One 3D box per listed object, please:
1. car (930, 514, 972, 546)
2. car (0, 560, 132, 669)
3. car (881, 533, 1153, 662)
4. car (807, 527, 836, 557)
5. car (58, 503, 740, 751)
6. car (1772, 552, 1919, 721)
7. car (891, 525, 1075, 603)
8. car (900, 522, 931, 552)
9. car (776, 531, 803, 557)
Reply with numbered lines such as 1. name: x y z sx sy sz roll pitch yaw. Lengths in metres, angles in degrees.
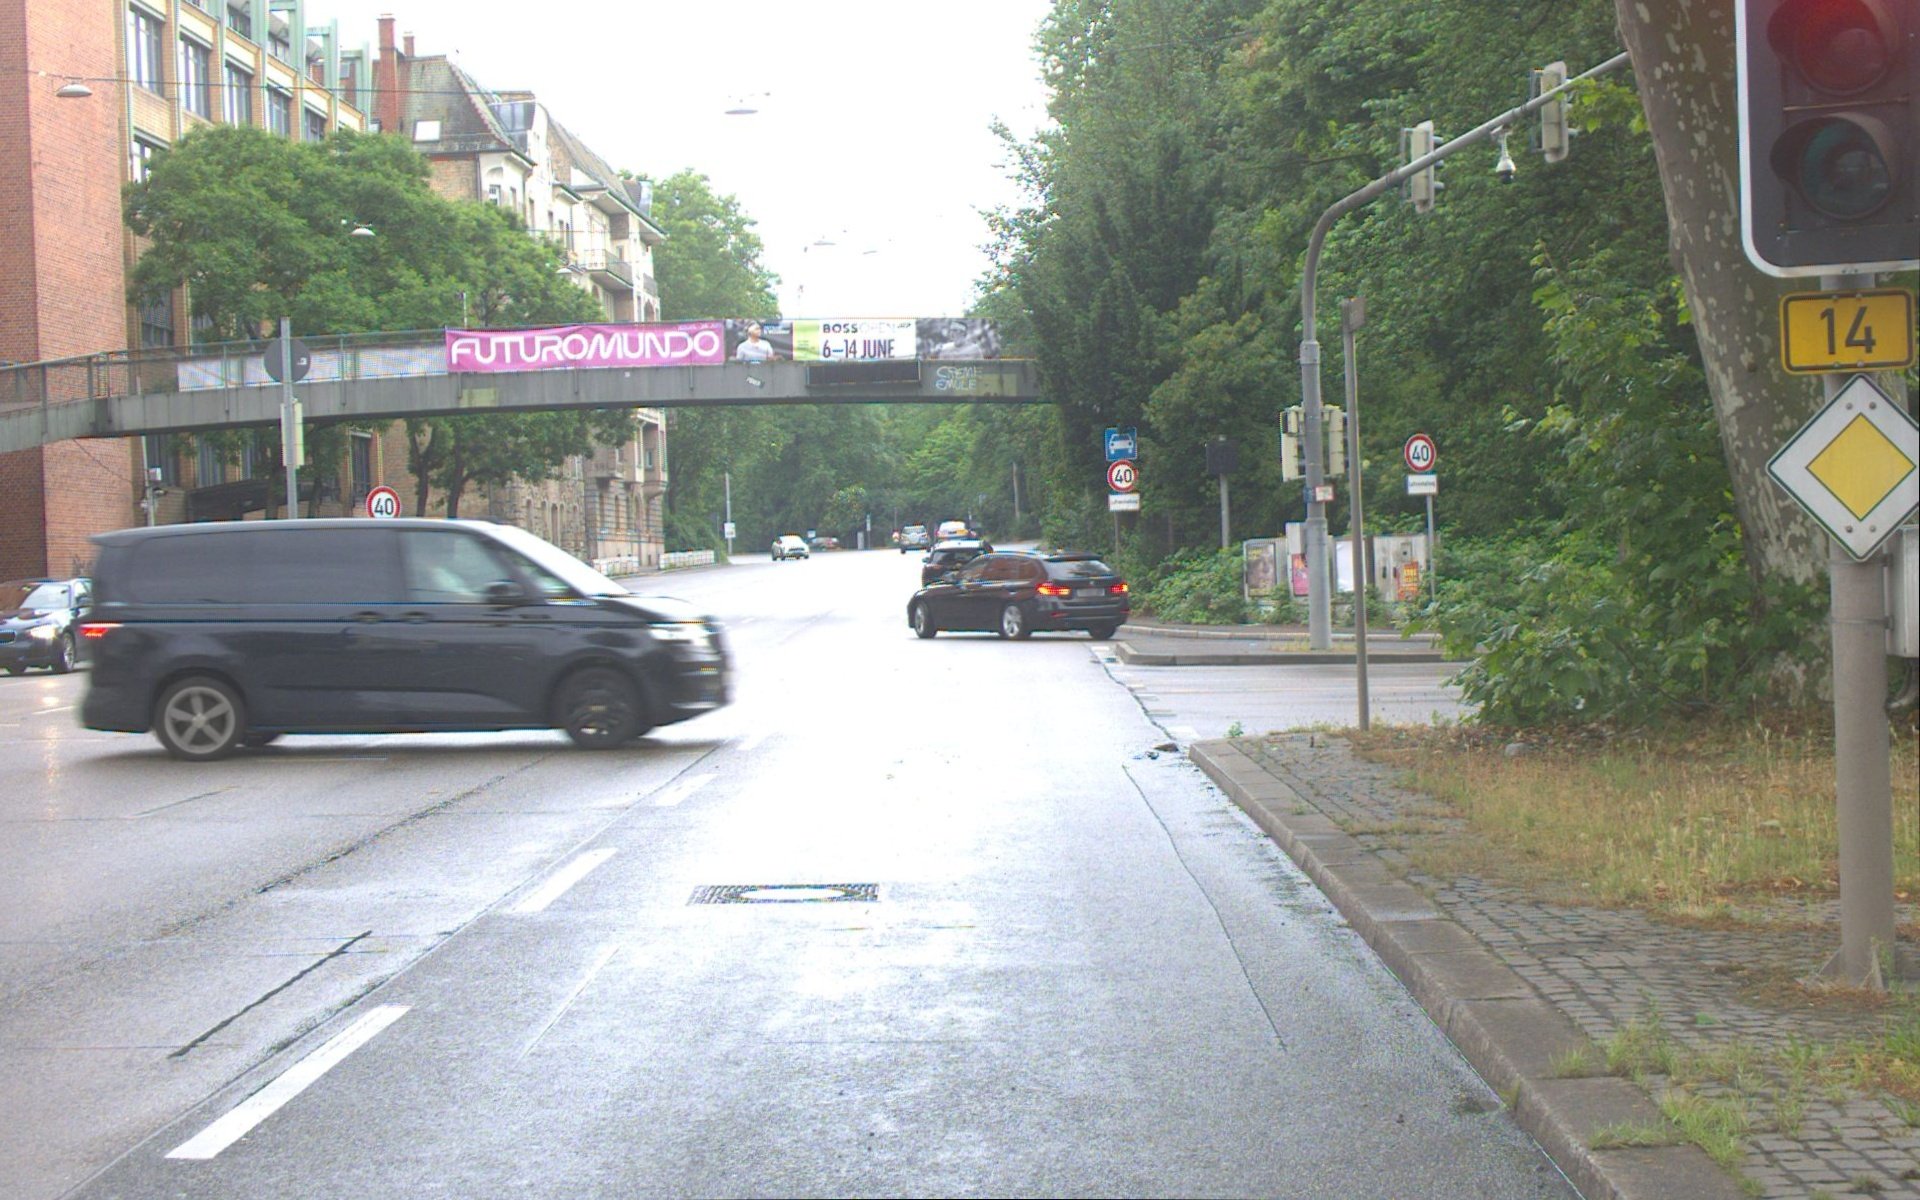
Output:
1. car: -0.522 -3.849 189.398 2.120 1.729 4.199 0 2 -3
2. car: -13.756 0.201 50.923 1.993 1.514 4.000 -2 1 0
3. car: 0.860 -0.016 54.429 2.129 1.829 4.352 -4 1 -33
4. car: -9.436 -3.948 234.235 1.763 1.919 3.706 -3 1 -1
5. car: -4.402 0.199 27.544 5.076 1.839 2.000 -1 1 2
6. car: 9.833 0.232 31.841 4.134 1.441 1.585 -3 1 -10
7. car: 0.462 -0.789 75.636 1.875 1.632 4.525 -2 1 -32
8. car: -2.654 -3.744 205.299 1.763 1.691 3.706 -3 1 -1
9. car: -11.535 -3.799 232.852 1.619 1.691 3.549 -3 1 -1
